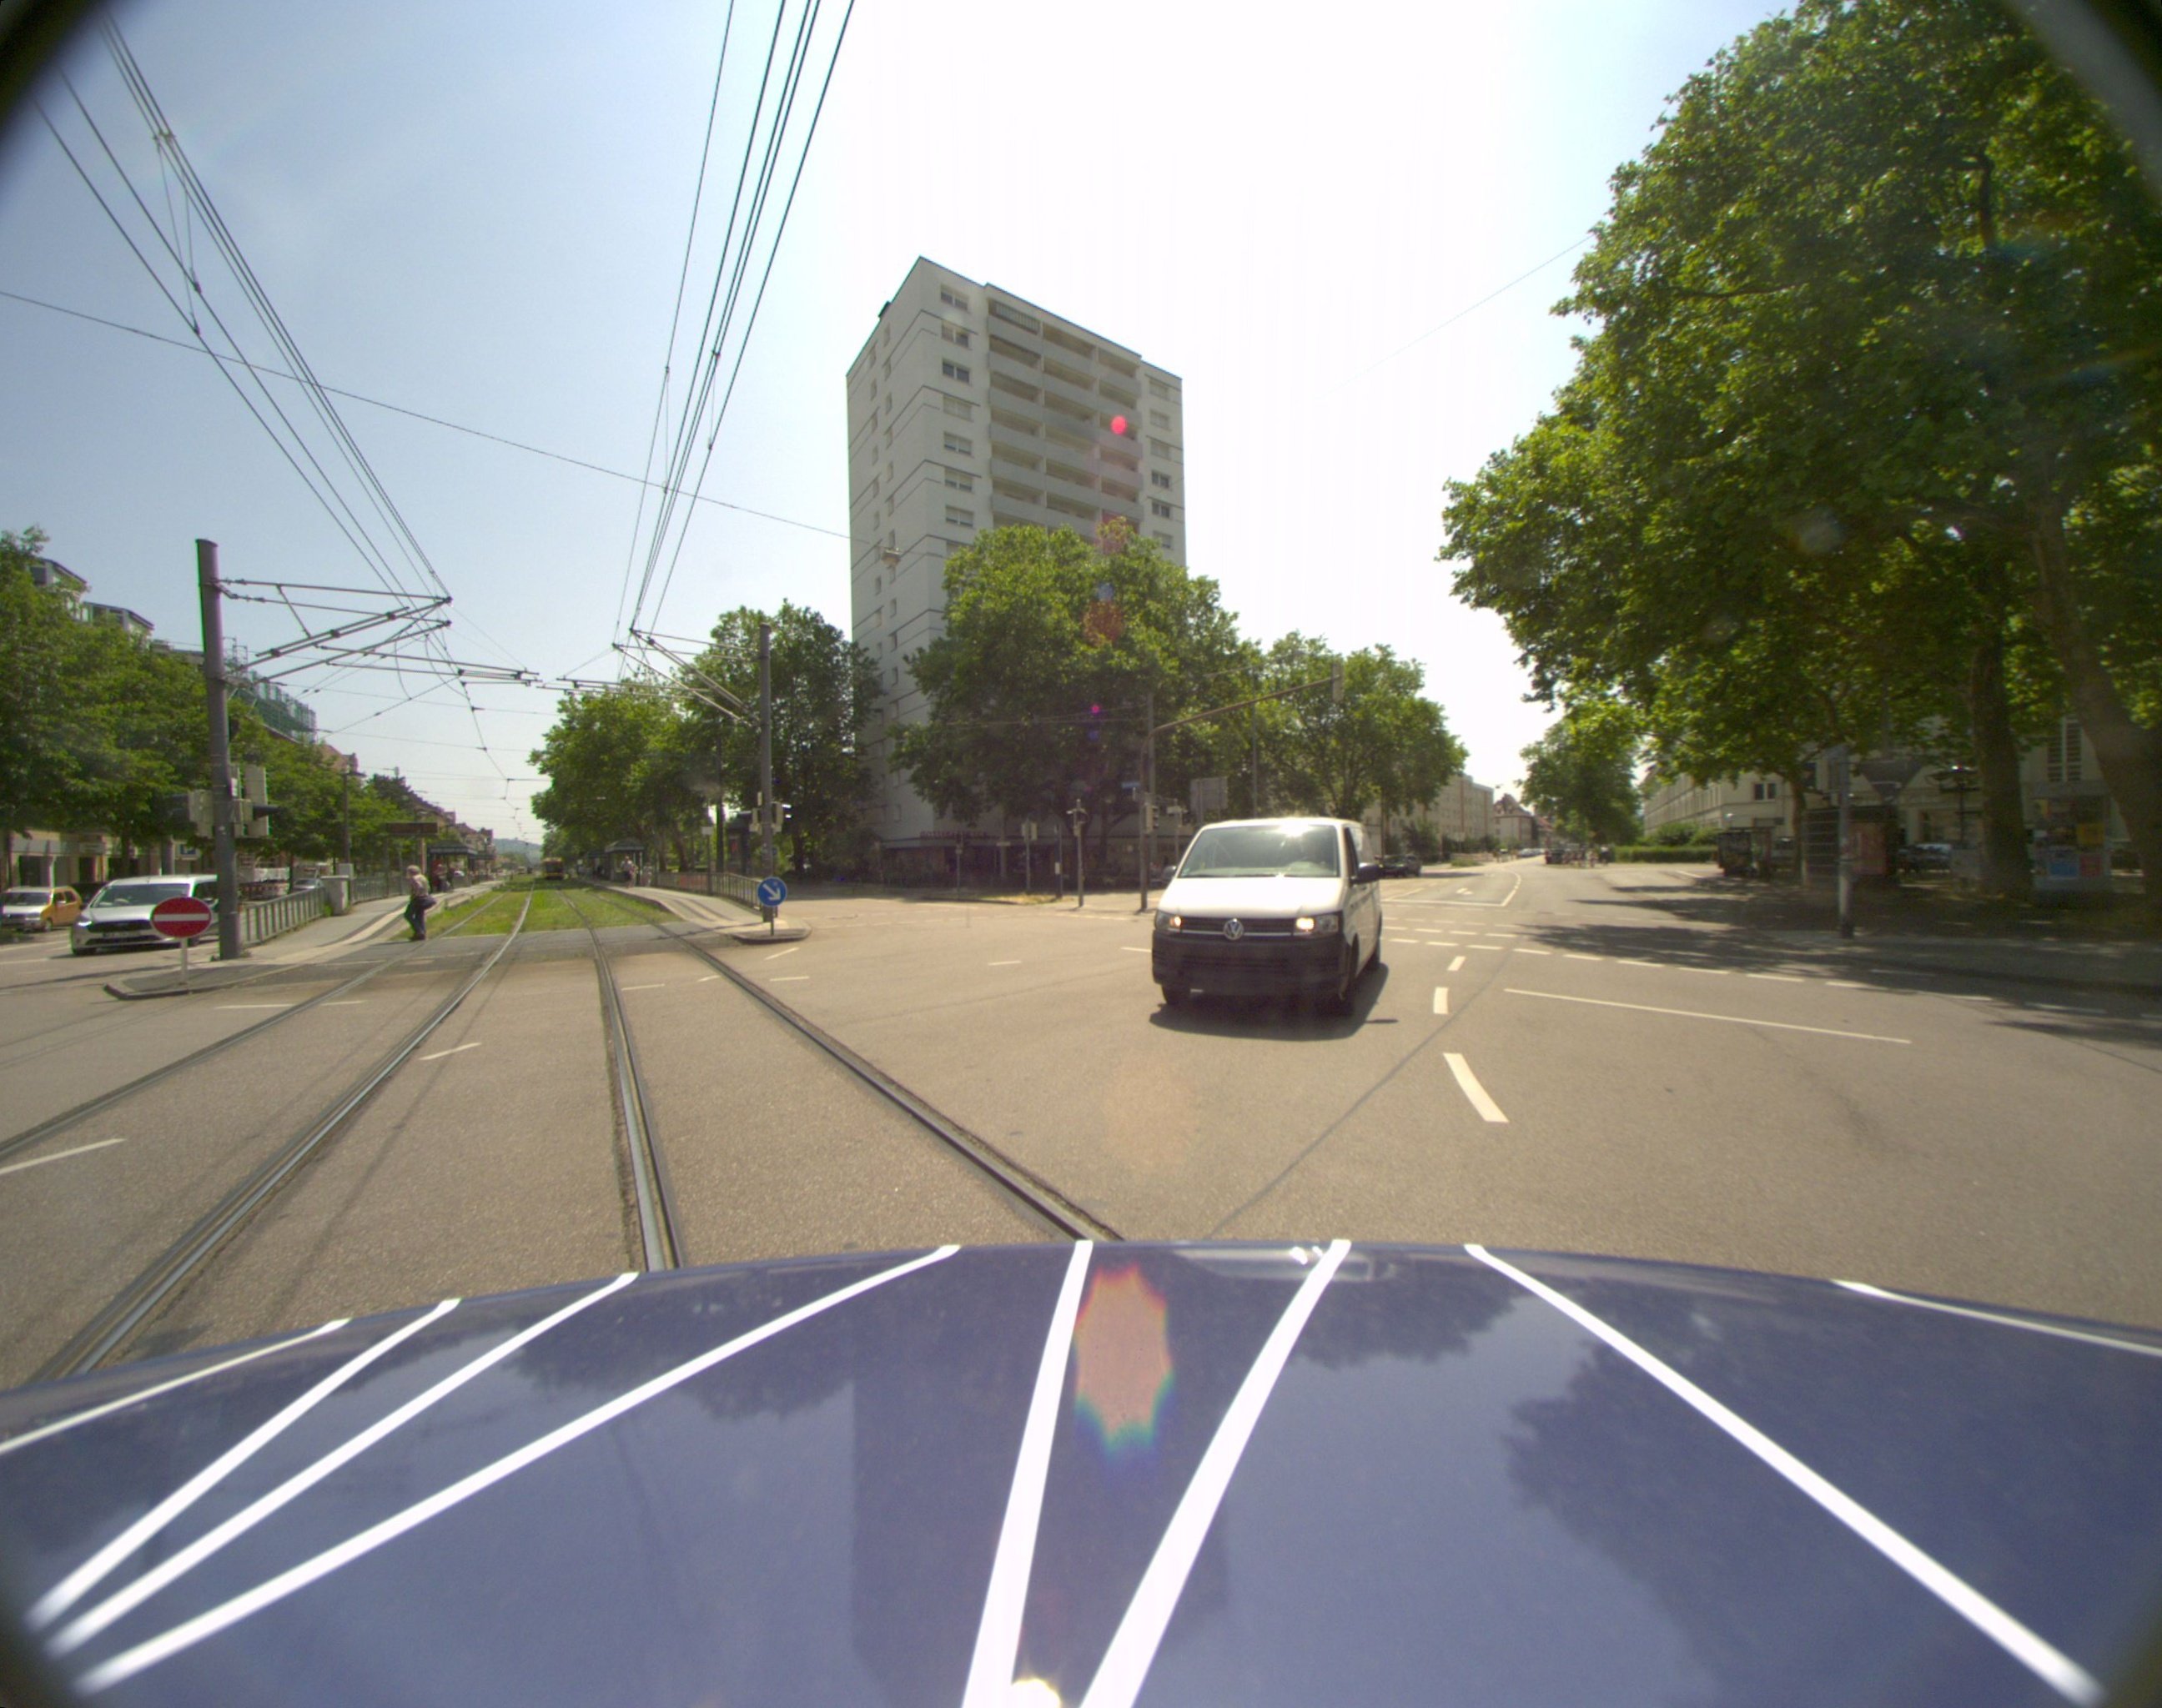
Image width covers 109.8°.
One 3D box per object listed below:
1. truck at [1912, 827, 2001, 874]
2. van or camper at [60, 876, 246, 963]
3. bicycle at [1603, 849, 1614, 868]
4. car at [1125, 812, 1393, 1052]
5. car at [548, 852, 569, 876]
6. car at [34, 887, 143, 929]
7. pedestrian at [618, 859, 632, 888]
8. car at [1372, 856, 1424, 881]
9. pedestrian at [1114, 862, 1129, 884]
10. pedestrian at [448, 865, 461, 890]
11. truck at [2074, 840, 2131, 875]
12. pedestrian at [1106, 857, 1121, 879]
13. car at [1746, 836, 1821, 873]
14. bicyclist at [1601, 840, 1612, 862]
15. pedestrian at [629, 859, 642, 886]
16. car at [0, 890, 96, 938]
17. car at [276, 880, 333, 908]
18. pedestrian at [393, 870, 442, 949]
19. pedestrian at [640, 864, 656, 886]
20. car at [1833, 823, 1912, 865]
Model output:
[{"bbox_3d":[43.018,-0.200,37.317,4.379,2.110,1.961,-3,1,-29],"label":"truck"},{"bbox_3d":[-22.891,1.502,18.982,1.770,1.748,4.581,-3,1,-36],"label":"van or camper"},{"bbox_3d":[43.556,0.370,62.762,0.595,1.546,1.846,-1,2,39],"label":"bicycle"},{"bbox_3d":[2.368,0.676,8.767,1.849,1.941,4.953,-2,-1,27],"label":"car"},{"bbox_3d":[-78.047,1.522,113.459,2.280,3.319,12.004,-2,0,-35],"label":"car"},{"bbox_3d":[-43.087,2.290,33.101,1.895,1.522,3.989,-3,1,-38],"label":"car"},{"bbox_3d":[-26.255,1.125,43.765,0.554,1.597,0.678,-3,2,-36],"label":"pedestrian"},{"bbox_3d":[21.696,0.975,51.924,1.941,1.453,4.065,-1,1,42],"label":"car"},{"bbox_3d":[2.457,1.164,46.655,0.641,1.357,0.592,-3,1,-41],"label":"pedestrian"},{"bbox_3d":[-39.751,1.492,48.231,0.551,1.597,0.552,-3,2,-36],"label":"pedestrian"},{"bbox_3d":[44.971,0.134,33.474,2.987,1.369,1.466,-3,1,-37],"label":"truck"},{"bbox_3d":[2.028,0.885,47.272,0.641,1.357,0.592,-3,1,-41],"label":"pedestrian"},{"bbox_3d":[38.857,0.002,42.014,4.006,1.888,1.995,-2,0,-31],"label":"car"},{"bbox_3d":[43.178,-0.231,62.435,0.703,1.725,0.789,-1,2,40],"label":"bicyclist"},{"bbox_3d":[-26.819,1.113,45.730,0.548,1.571,0.513,-3,2,-37],"label":"pedestrian"},{"bbox_3d":[-39.660,2.248,28.717,2.003,1.522,3.989,-3,1,-38],"label":"car"},{"bbox_3d":[-50.581,2.560,49.558,2.004,1.652,3.989,-2,0,-37],"label":"car"},{"bbox_3d":[-15.001,1.232,17.188,0.681,1.696,0.552,-3,2,-33],"label":"pedestrian"},{"bbox_3d":[-26.120,1.260,45.830,0.680,1.341,0.630,-3,2,-37],"label":"pedestrian"},{"bbox_3d":[41.258,-0.540,39.618,4.006,2.002,1.995,-3,1,-31],"label":"car"}]
